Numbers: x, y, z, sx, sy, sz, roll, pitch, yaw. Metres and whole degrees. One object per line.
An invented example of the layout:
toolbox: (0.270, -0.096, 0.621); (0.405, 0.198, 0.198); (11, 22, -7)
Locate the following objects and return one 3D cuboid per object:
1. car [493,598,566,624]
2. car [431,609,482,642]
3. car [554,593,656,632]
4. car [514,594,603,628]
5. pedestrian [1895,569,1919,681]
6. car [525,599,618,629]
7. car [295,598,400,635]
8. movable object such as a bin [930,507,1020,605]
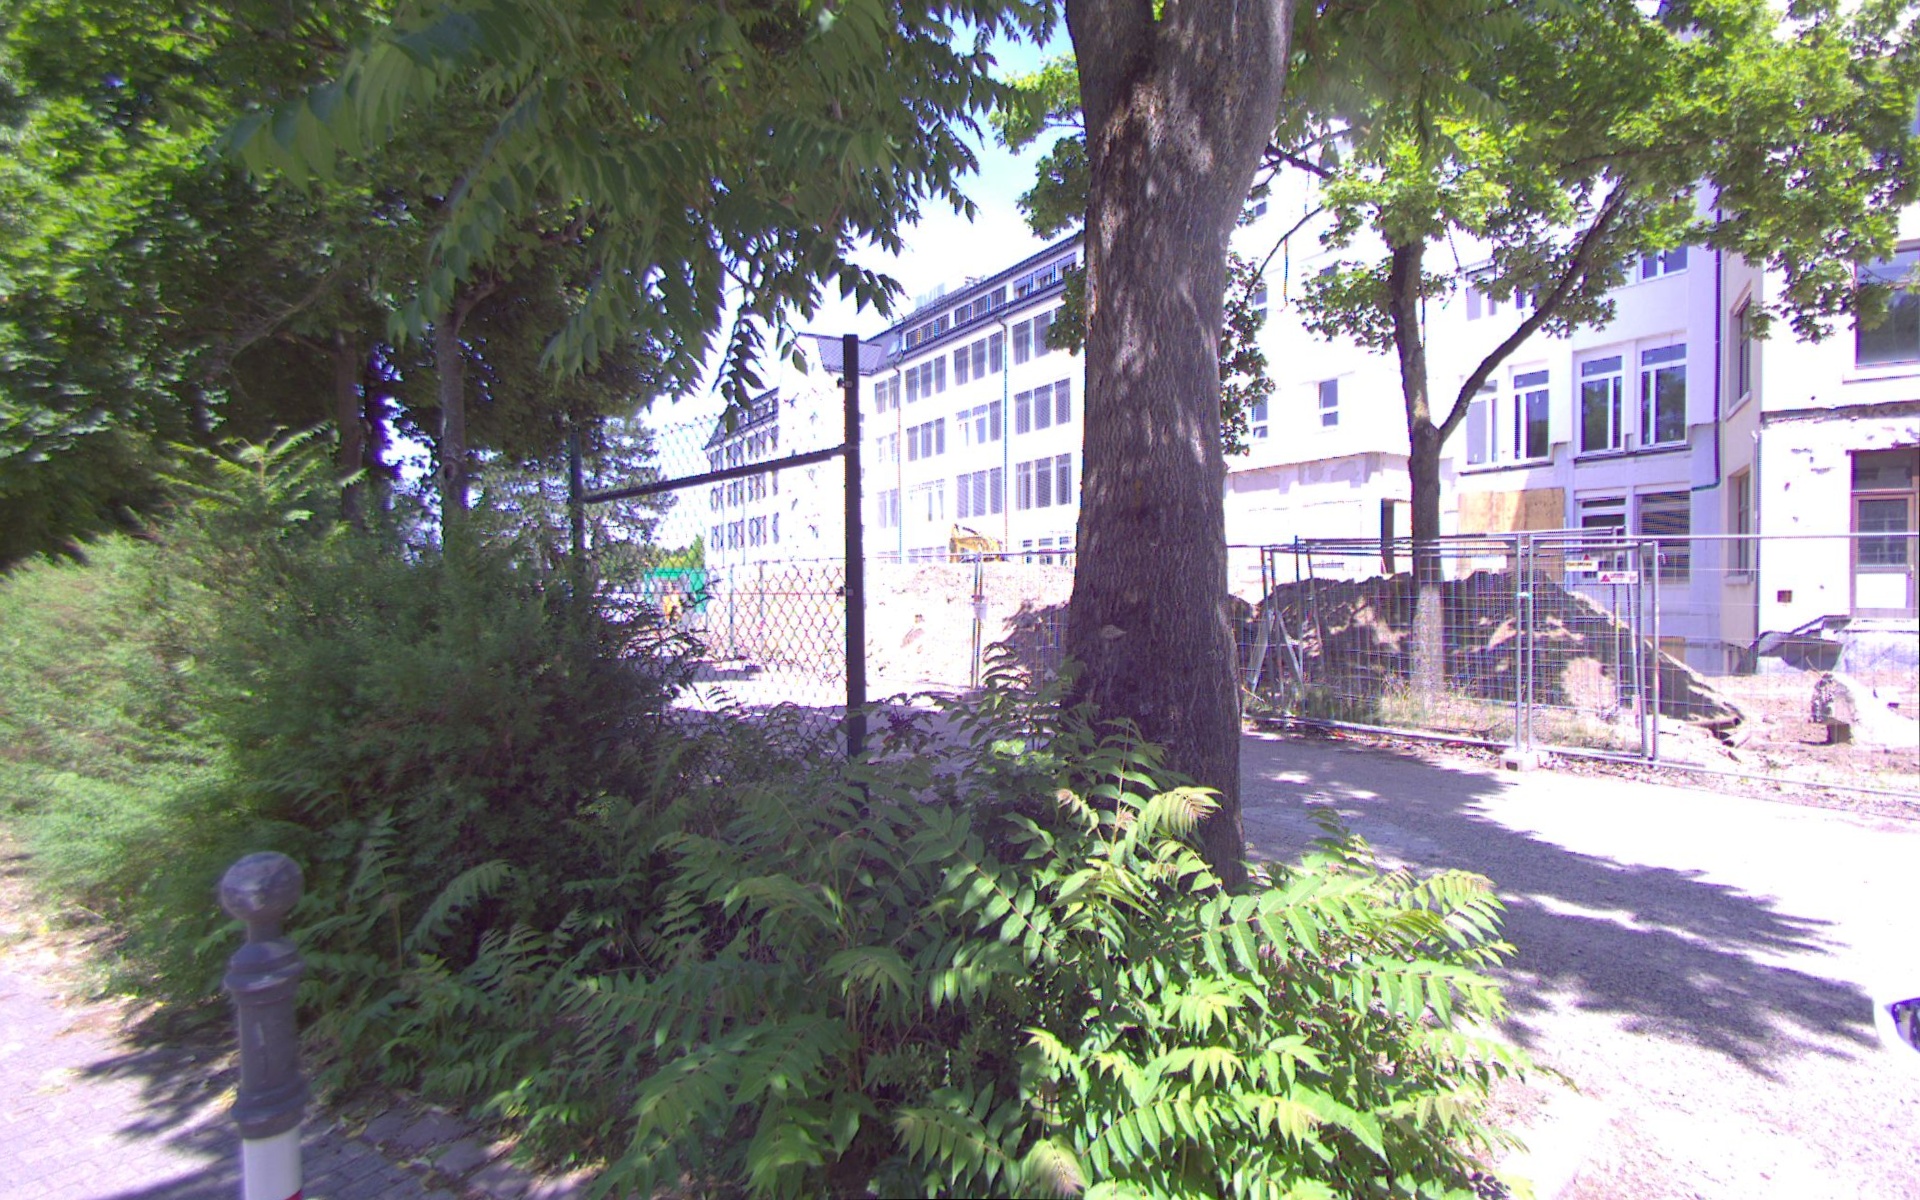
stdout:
car: (-25.298, 0.644, 59.079); (3.692, 1.514, 1.438); (0, 0, -38)
car: (-26.985, 1.313, 53.767); (1.794, 1.677, 3.884); (0, 0, -37)
car: (-14.445, 0.506, 40.939); (3.692, 1.514, 1.438); (0, 0, -38)
car: (-18.923, 0.502, 47.435); (3.692, 1.514, 1.438); (0, 0, -38)
pedestrian: (16.694, 0.425, 17.044); (0.967, 1.871, 0.916); (0, 0, 25)
car: (-17.481, 0.613, 45.247); (3.692, 1.295, 1.438); (0, 0, -38)
car: (-24.862, 0.639, 40.818); (3.592, 1.433, 1.375); (0, 0, -36)
movable object such as a bin: (0.627, -2.009, 48.558); (1.974, 4.430, 5.684); (0, 0, -27)
